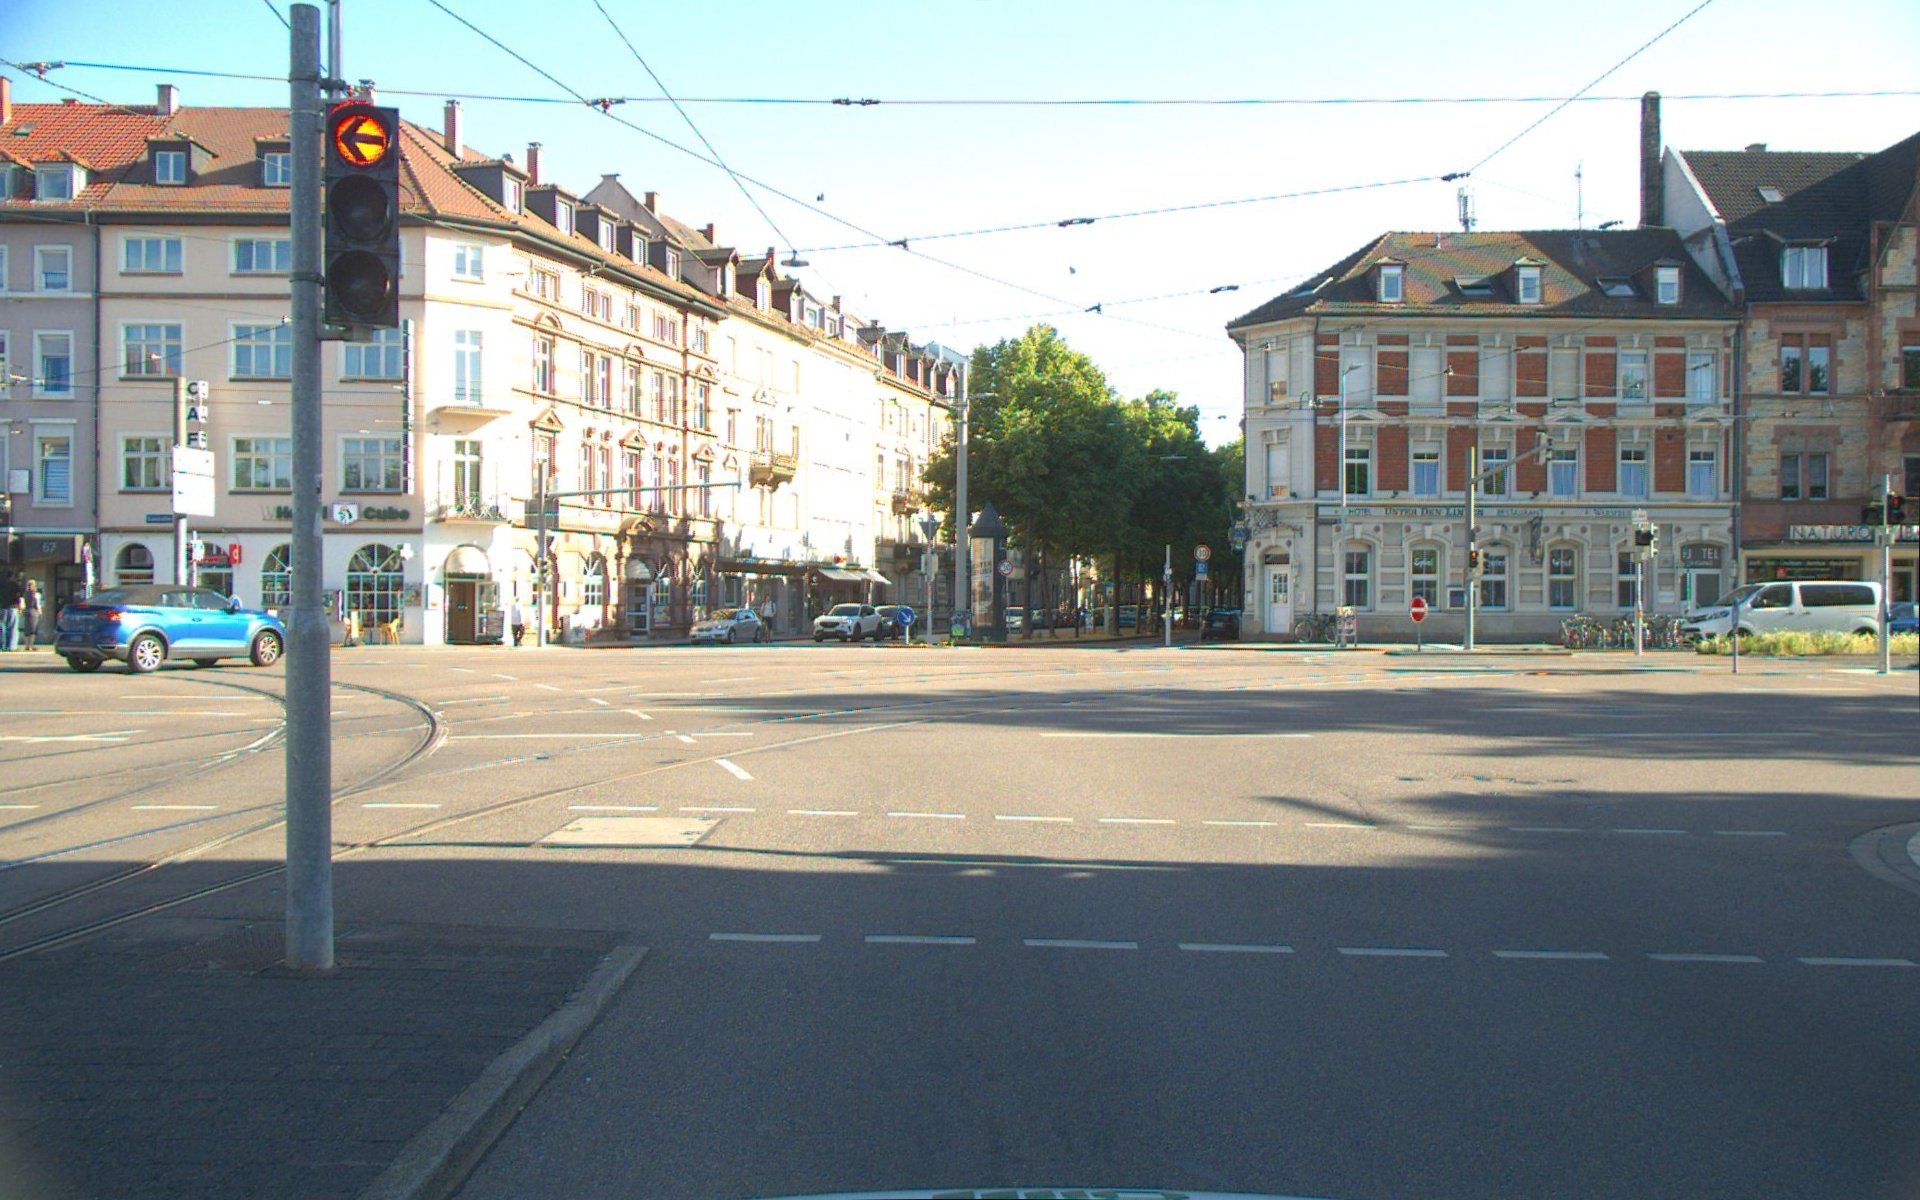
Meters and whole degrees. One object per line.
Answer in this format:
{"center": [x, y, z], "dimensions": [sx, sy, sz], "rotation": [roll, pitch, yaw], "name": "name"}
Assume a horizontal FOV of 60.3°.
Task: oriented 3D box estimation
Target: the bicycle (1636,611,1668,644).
{"center": [22.438, 0.889, 53.655], "dimensions": [0.749, 1.025, 2.221], "rotation": [1, 0, 17], "name": "bicycle"}

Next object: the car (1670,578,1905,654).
{"center": [21.314, 0.397, 42.712], "dimensions": [5.094, 1.886, 1.999], "rotation": [0, 0, -2], "name": "car"}

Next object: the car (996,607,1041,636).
{"center": [3.387, 1.247, 95.509], "dimensions": [1.764, 1.603, 3.893], "rotation": [1, 0, 15], "name": "car"}

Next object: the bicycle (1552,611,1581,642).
{"center": [19.806, 0.857, 54.030], "dimensions": [0.749, 0.979, 2.211], "rotation": [1, 0, 17], "name": "bicycle"}

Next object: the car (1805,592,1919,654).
{"center": [25.917, 0.635, 46.024], "dimensions": [3.905, 1.650, 1.804], "rotation": [1, 0, 0], "name": "car"}

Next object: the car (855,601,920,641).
{"center": [-3.190, 0.933, 73.548], "dimensions": [1.786, 1.715, 3.877], "rotation": [1, 0, 16], "name": "car"}

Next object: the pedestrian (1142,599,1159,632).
{"center": [11.800, 0.942, 102.483], "dimensions": [0.941, 2.049, 0.918], "rotation": [1, -1, 0], "name": "pedestrian"}

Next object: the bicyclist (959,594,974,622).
{"center": [0.359, 0.487, 95.646], "dimensions": [0.659, 1.595, 0.748], "rotation": [1, -1, 17], "name": "bicyclist"}

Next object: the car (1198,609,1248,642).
{"center": [13.168, 1.275, 82.661], "dimensions": [1.719, 1.583, 4.001], "rotation": [1, 0, 20], "name": "car"}

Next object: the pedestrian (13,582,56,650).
{"center": [-22.947, 0.397, 41.027], "dimensions": [0.571, 1.677, 0.840], "rotation": [1, -1, -1], "name": "pedestrian"}

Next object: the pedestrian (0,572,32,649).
{"center": [-22.932, 0.254, 40.034], "dimensions": [0.516, 1.854, 0.676], "rotation": [1, -1, -1], "name": "pedestrian"}

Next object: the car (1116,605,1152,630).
{"center": [12.326, 1.227, 116.775], "dimensions": [1.951, 1.713, 4.003], "rotation": [1, 0, 15], "name": "car"}

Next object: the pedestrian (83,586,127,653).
{"center": [-21.261, 0.481, 41.134], "dimensions": [0.655, 1.622, 0.815], "rotation": [1, -1, -1], "name": "pedestrian"}

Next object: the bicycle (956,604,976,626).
{"center": [0.353, 0.881, 95.640], "dimensions": [0.659, 1.228, 1.822], "rotation": [1, 0, 17], "name": "bicycle"}

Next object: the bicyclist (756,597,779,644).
{"center": [-7.555, 0.790, 64.981], "dimensions": [0.553, 1.835, 0.915], "rotation": [1, -1, 14], "name": "bicyclist"}

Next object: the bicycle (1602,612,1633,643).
{"center": [21.339, 0.883, 53.700], "dimensions": [0.749, 1.001, 2.211], "rotation": [1, 0, 17], "name": "bicycle"}

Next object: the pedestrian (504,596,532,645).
{"center": [-15.368, 0.713, 57.506], "dimensions": [0.556, 1.671, 0.792], "rotation": [1, -1, 22], "name": "pedestrian"}

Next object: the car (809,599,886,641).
{"center": [-4.537, 0.808, 67.169], "dimensions": [1.764, 1.613, 4.162], "rotation": [1, 0, 16], "name": "car"}

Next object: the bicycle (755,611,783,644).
{"center": [-7.515, 1.073, 65.122], "dimensions": [0.553, 1.276, 1.558], "rotation": [1, 0, 14], "name": "bicycle"}

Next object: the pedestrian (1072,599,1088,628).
{"center": [8.564, 0.984, 118.021], "dimensions": [0.923, 2.049, 0.827], "rotation": [1, -1, 14], "name": "pedestrian"}

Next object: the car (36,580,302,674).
{"center": [-14.398, 0.448, 30.356], "dimensions": [1.790, 1.602, 4.194], "rotation": [0, 0, 27], "name": "car"}

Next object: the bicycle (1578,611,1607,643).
{"center": [20.560, 0.870, 53.793], "dimensions": [0.749, 0.985, 2.211], "rotation": [1, 0, 17], "name": "bicycle"}

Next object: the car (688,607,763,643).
{"center": [-9.447, 0.988, 66.875], "dimensions": [1.624, 1.398, 3.894], "rotation": [1, 0, 14], "name": "car"}

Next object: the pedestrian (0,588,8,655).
{"center": [-24.272, 0.531, 41.287], "dimensions": [0.561, 1.677, 0.727], "rotation": [1, -1, -1], "name": "pedestrian"}

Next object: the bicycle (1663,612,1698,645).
{"center": [23.291, 0.903, 53.488], "dimensions": [0.775, 1.033, 2.211], "rotation": [1, 0, 17], "name": "bicycle"}

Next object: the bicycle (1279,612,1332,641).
{"center": [11.978, 0.905, 57.284], "dimensions": [1.764, 0.979, 0.604], "rotation": [1, 0, 14], "name": "bicycle"}
